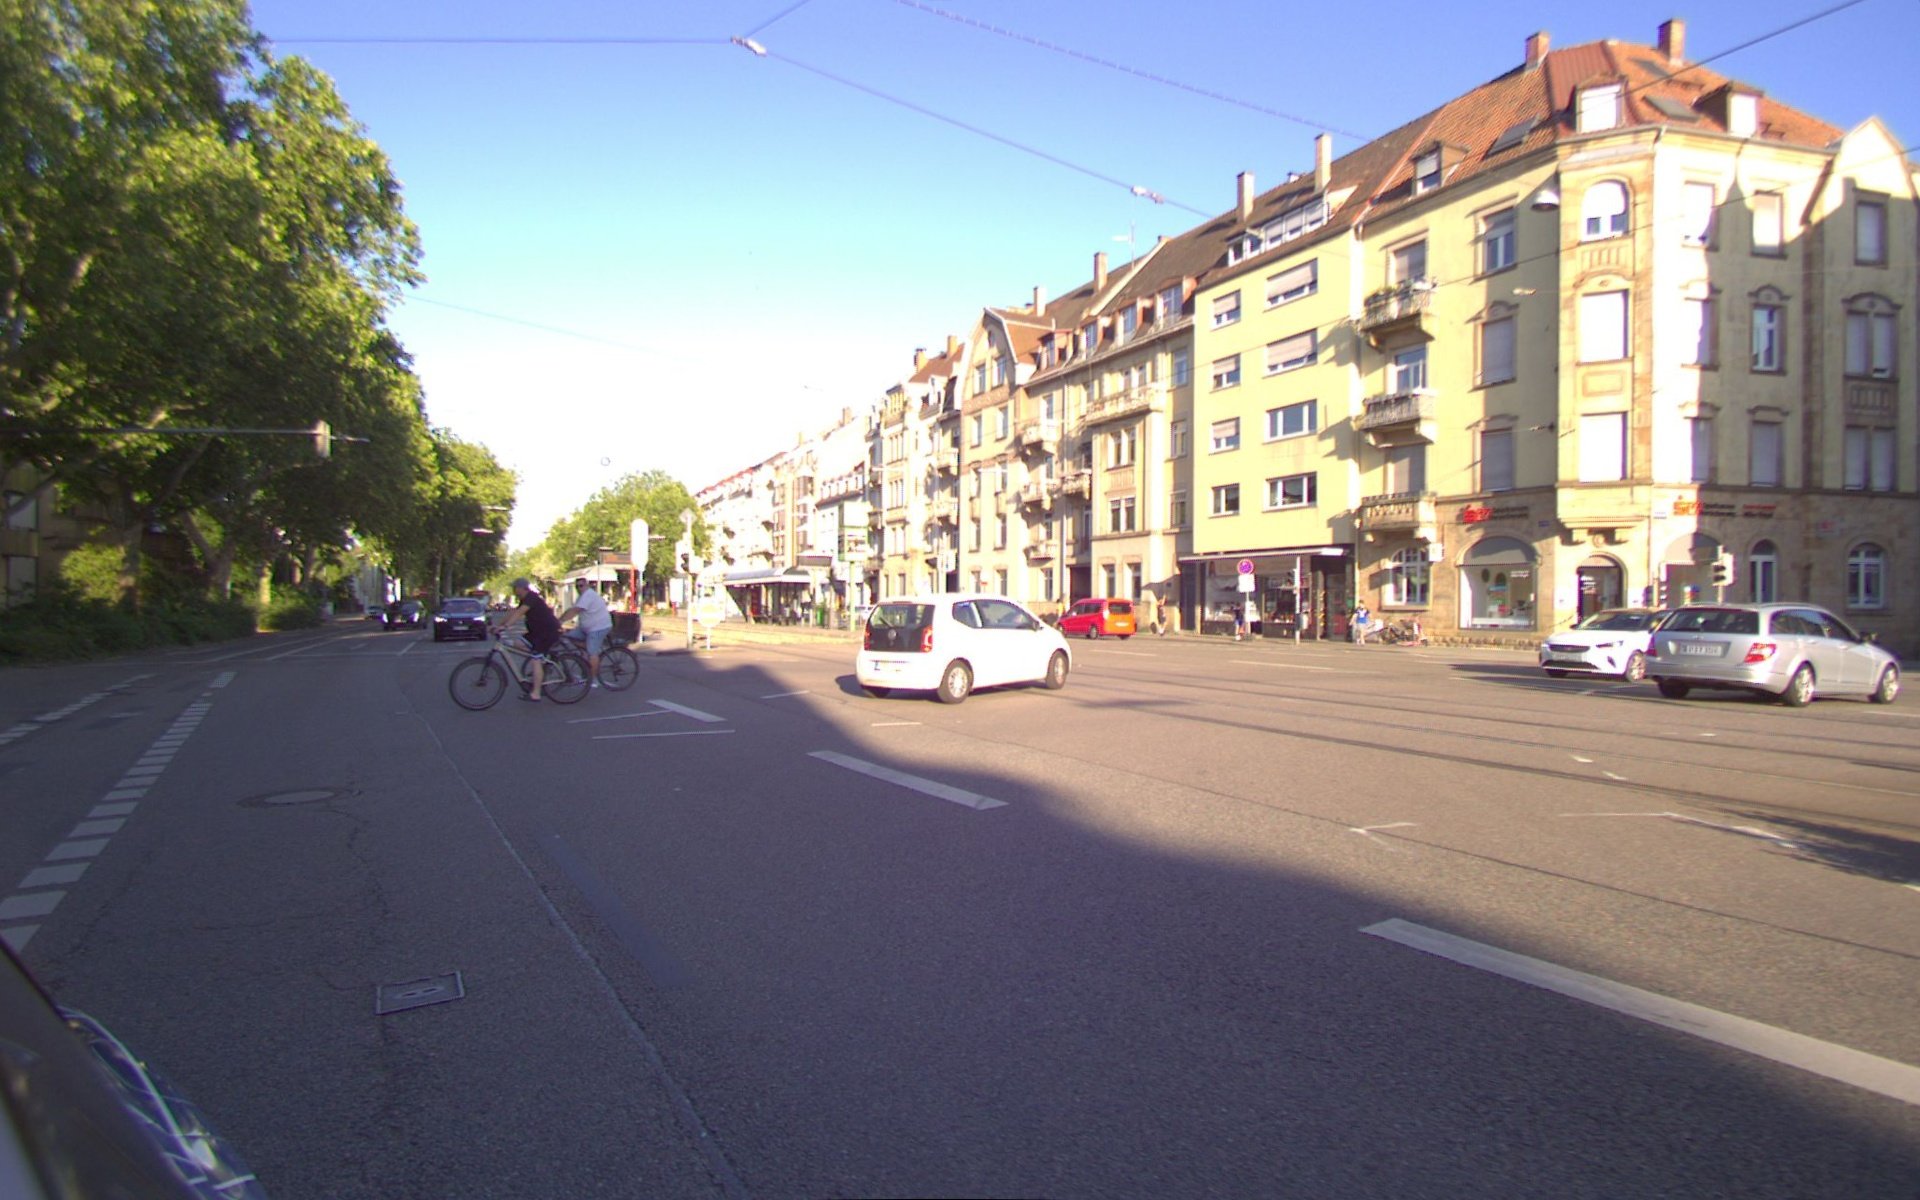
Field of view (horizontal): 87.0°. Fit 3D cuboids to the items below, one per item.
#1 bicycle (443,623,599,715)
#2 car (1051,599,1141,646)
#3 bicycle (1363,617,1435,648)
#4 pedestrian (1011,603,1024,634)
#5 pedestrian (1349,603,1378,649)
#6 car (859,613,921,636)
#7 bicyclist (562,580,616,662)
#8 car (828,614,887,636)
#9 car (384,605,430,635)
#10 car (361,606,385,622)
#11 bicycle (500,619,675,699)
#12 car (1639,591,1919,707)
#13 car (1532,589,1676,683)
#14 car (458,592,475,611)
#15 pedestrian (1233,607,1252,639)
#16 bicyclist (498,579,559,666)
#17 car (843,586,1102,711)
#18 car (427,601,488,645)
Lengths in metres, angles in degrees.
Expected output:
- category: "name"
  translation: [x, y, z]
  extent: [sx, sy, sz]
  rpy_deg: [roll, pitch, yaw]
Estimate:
- category: "bicycle"
  translation: [-5.992, 0.914, 13.876]
  extent: [1.891, 1.113, 0.655]
  rpy_deg: [-2, 1, -23]
- category: "car"
  translation: [5.949, 0.940, 44.860]
  extent: [1.887, 1.914, 4.324]
  rpy_deg: [0, 0, -25]
- category: "bicycle"
  translation: [15.839, 1.168, 36.603]
  extent: [0.656, 1.064, 2.511]
  rpy_deg: [0, 0, -29]
- category: "pedestrian"
  translation: [3.447, 1.101, 60.874]
  extent: [0.630, 1.851, 0.478]
  rpy_deg: [1, 0, -24]
- category: "pedestrian"
  translation: [14.713, 0.946, 36.889]
  extent: [0.619, 1.653, 0.772]
  rpy_deg: [0, -1, -28]
- category: "car"
  translation: [-4.704, 1.634, 68.090]
  extent: [3.642, 1.475, 1.955]
  rpy_deg: [0, 0, -31]
- category: "bicyclist"
  translation: [-5.820, 0.317, 15.851]
  extent: [0.754, 1.245, 0.663]
  rpy_deg: [1, 0, -23]
- category: "car"
  translation: [-7.288, 1.755, 71.876]
  extent: [3.642, 1.475, 1.955]
  rpy_deg: [0, 0, -31]
- category: "car"
  translation: [-30.723, 1.066, 56.293]
  extent: [1.847, 1.608, 4.013]
  rpy_deg: [0, 0, -23]
- category: "car"
  translation: [-59.835, 1.409, 103.182]
  extent: [1.847, 1.608, 4.013]
  rpy_deg: [0, 0, -26]
- category: "bicycle"
  translation: [-5.809, 0.898, 15.853]
  extent: [2.508, 1.113, 0.655]
  rpy_deg: [-1, 1, -23]
- category: "car"
  translation: [12.022, 0.669, 14.670]
  extent: [4.099, 1.488, 1.743]
  rpy_deg: [1, 0, -26]
- category: "car"
  translation: [13.223, 0.668, 20.678]
  extent: [1.836, 1.719, 3.944]
  rpy_deg: [1, 0, 42]
- category: "car"
  translation: [-61.018, 0.225, 125.191]
  extent: [1.847, 2.309, 4.013]
  rpy_deg: [0, 0, -26]
- category: "pedestrian"
  translation: [12.008, 0.971, 42.979]
  extent: [0.544, 1.373, 0.557]
  rpy_deg: [0, 0, -27]
- category: "bicyclist"
  translation: [-5.921, 0.300, 13.895]
  extent: [0.754, 1.166, 0.614]
  rpy_deg: [1, 0, -23]
- category: "car"
  translation: [0.288, 0.584, 14.605]
  extent: [1.737, 1.491, 3.763]
  rpy_deg: [1, 2, 41]
- category: "car"
  translation: [-19.488, 0.847, 39.378]
  extent: [1.847, 1.608, 4.013]
  rpy_deg: [0, 0, -23]
